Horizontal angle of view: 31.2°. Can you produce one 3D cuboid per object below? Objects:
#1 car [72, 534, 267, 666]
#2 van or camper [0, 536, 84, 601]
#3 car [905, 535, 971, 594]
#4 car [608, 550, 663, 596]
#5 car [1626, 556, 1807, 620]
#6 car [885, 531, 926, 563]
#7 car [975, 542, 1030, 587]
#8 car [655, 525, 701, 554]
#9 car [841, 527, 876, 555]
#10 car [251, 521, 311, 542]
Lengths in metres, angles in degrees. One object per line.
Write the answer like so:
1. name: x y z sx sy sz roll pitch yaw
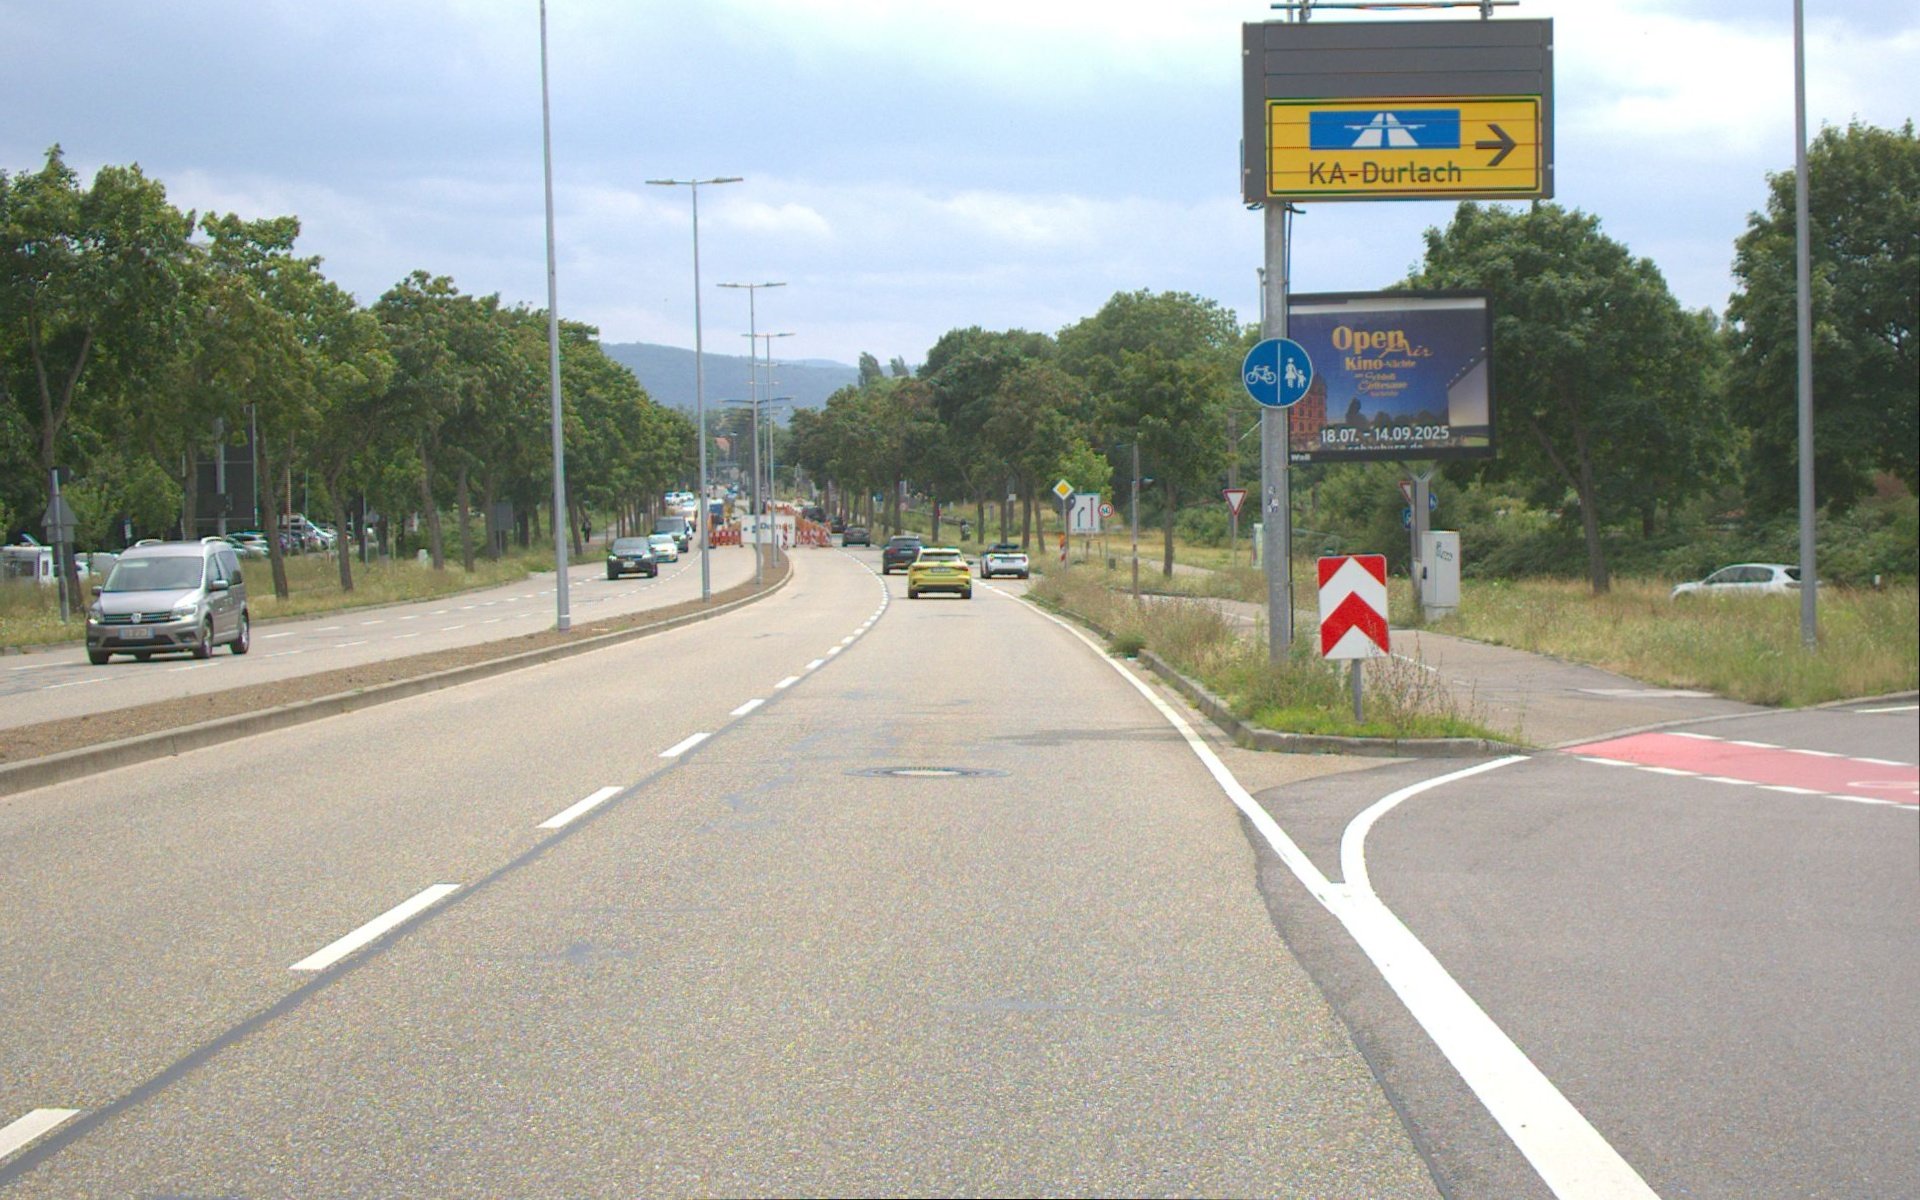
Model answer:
1. car: -11.940 -0.043 52.221 1.902 1.803 4.540 -1 2 0
2. van or camper: -38.884 -1.341 144.675 2.471 2.532 6.722 -1 2 -2
3. car: -0.651 -1.030 98.541 1.793 1.556 4.001 -1 2 -2
4. car: -13.951 -1.176 148.044 1.993 1.805 4.798 -2 2 -1
5. car: 18.551 -0.321 84.378 3.997 1.459 1.768 1 3 41
6. car: -2.294 -2.245 144.682 1.667 1.265 4.001 -1 2 -2
7. car: 1.685 -1.450 137.842 2.013 1.664 4.001 -1 2 -2
8. car: -14.890 -3.216 181.791 1.993 1.426 4.688 -2 2 0
9. car: -6.506 -3.800 220.781 2.206 1.678 4.001 -1 2 -1
10. car: -46.739 -4.726 236.641 3.772 1.421 1.966 -1 2 0
